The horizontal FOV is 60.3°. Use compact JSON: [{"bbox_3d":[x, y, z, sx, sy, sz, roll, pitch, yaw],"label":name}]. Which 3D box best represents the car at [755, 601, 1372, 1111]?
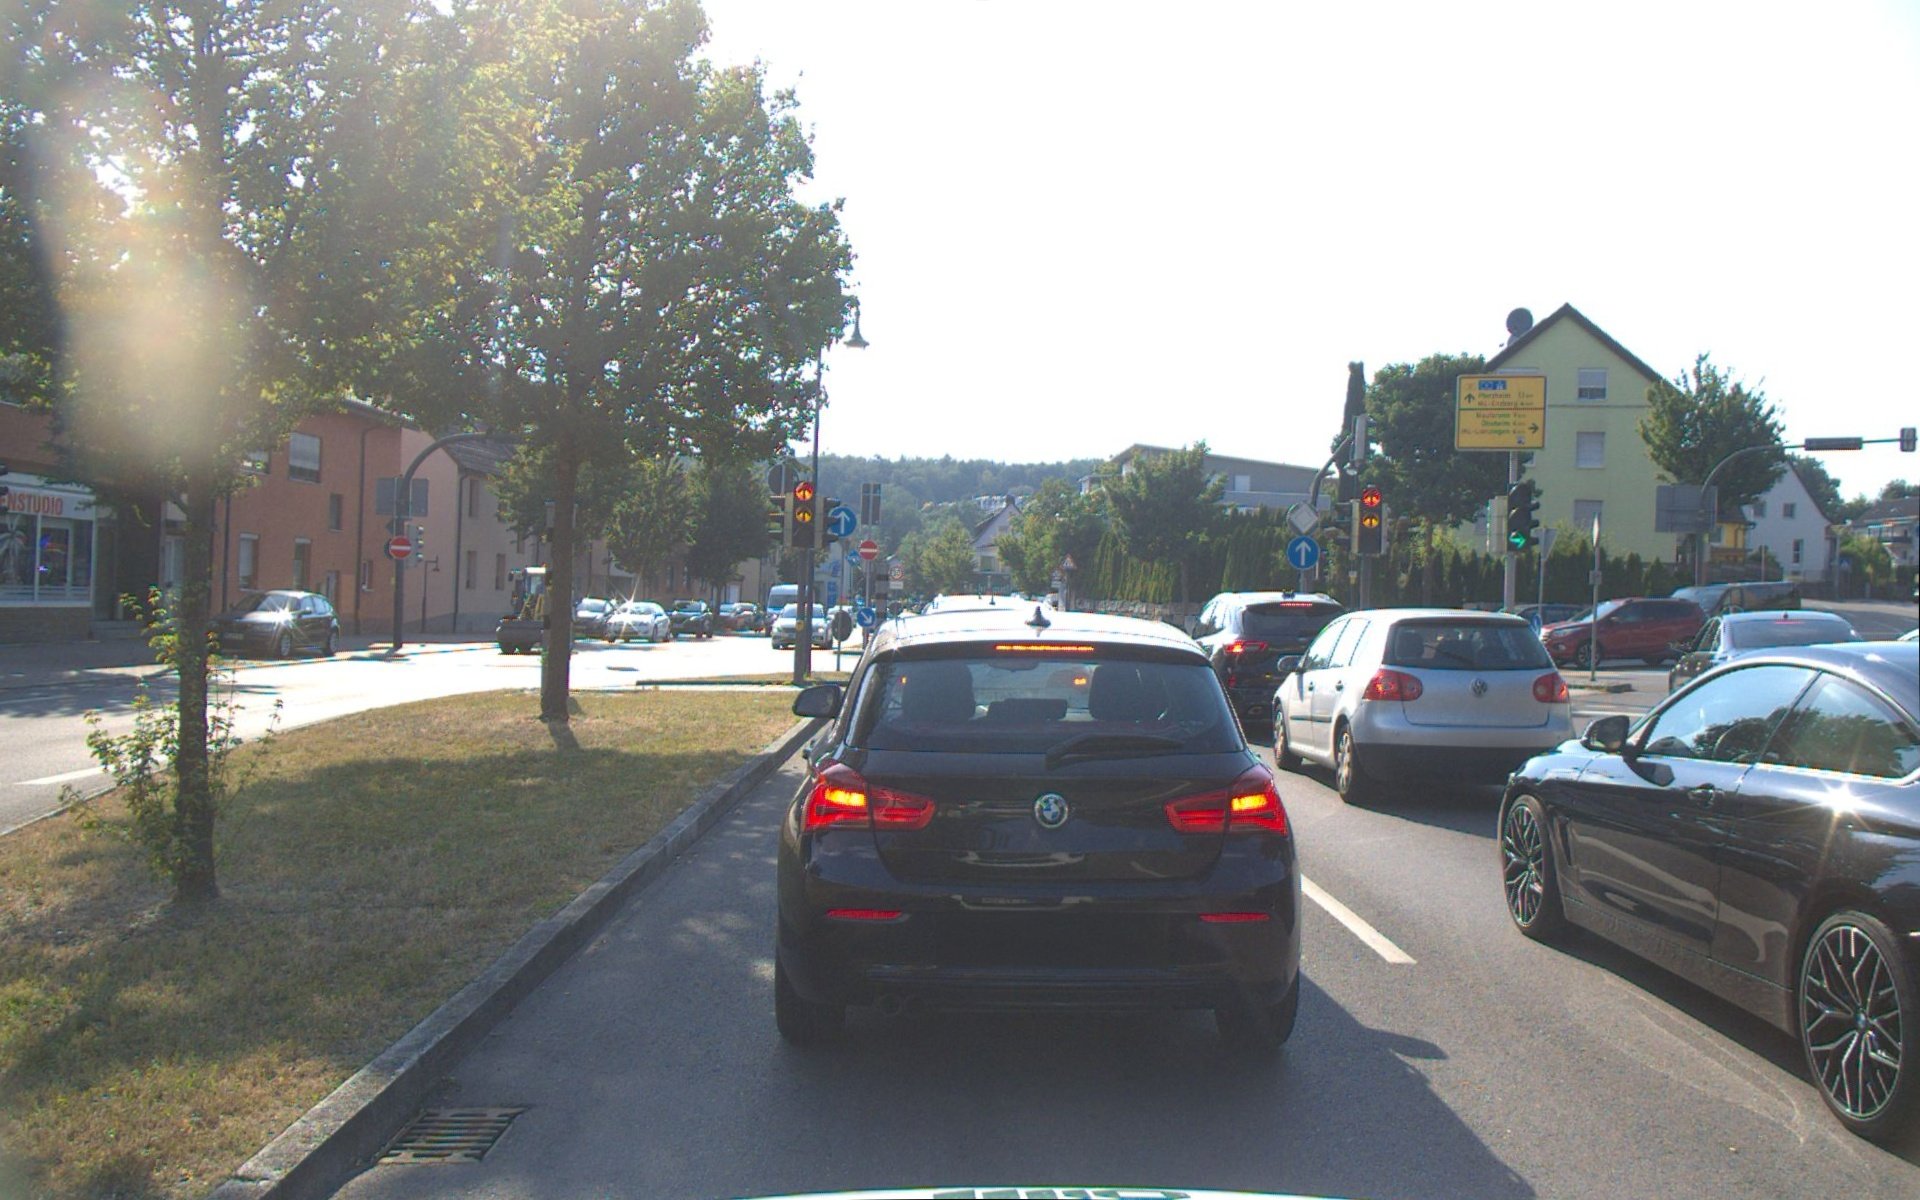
[{"bbox_3d":[0.294,0.731,6.869,1.751,1.422,4.280,-1,0,0],"label":"car"}]

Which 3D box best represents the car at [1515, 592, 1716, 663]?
[{"bbox_3d":[16.320,0.684,41.287,4.333,1.670,1.845,1,0,-8],"label":"car"}]

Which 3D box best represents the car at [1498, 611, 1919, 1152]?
[{"bbox_3d":[3.469,0.781,5.849,1.725,1.422,4.280,-1,0,0],"label":"car"}]

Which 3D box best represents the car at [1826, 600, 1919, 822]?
[{"bbox_3d":[7.619,0.793,11.658,1.583,1.569,3.320,-1,0,6],"label":"car"}]

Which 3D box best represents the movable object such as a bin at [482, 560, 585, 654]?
[{"bbox_3d":[-11.891,0.194,46.345,1.701,2.485,4.449,0,0,0],"label":"movable object such as a bin"}]

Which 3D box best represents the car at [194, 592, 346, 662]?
[{"bbox_3d":[-15.476,0.571,37.321,1.702,1.323,3.999,5,0,-1],"label":"car"}]

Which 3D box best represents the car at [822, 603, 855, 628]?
[{"bbox_3d":[-7.827,0.998,106.848,1.801,1.508,4.001,1,0,1],"label":"car"}]

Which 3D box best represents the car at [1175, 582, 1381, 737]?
[{"bbox_3d":[3.743,0.644,20.088,1.725,1.685,3.902,-1,0,0],"label":"car"}]

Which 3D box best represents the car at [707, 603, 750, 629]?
[{"bbox_3d":[-13.548,0.945,96.961,1.701,1.323,3.800,5,0,2],"label":"car"}]

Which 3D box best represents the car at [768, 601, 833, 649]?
[{"bbox_3d":[-5.313,0.799,55.437,1.801,1.508,4.000,1,0,0],"label":"car"}]

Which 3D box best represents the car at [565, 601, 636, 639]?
[{"bbox_3d":[-14.504,0.802,66.936,1.701,1.323,4.001,5,0,3],"label":"car"}]

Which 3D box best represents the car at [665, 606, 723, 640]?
[{"bbox_3d":[-11.728,0.991,73.196,1.701,1.323,3.800,5,0,2],"label":"car"}]

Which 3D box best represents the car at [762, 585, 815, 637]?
[{"bbox_3d":[-8.451,0.540,81.953,2.042,2.435,5.527,1,0,-1],"label":"car"}]

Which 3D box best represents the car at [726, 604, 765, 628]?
[{"bbox_3d":[-13.314,0.969,102.662,1.701,1.323,3.800,5,0,2],"label":"car"}]

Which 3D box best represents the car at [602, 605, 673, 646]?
[{"bbox_3d":[-12.064,0.936,62.115,1.701,1.323,3.800,5,0,2],"label":"car"}]

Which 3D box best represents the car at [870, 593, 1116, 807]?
[{"bbox_3d":[0.234,0.711,14.014,1.751,1.520,4.280,-1,0,0],"label":"car"}]

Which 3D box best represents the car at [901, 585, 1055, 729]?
[{"bbox_3d":[0.204,0.644,21.054,1.751,1.622,4.280,-1,0,0],"label":"car"}]

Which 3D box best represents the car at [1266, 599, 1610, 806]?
[{"bbox_3d":[3.790,0.735,13.805,1.725,1.451,3.902,-1,0,0],"label":"car"}]

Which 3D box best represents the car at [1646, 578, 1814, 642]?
[{"bbox_3d":[22.137,0.295,47.518,4.710,1.770,1.833,1,0,-26],"label":"car"}]

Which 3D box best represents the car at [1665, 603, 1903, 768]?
[{"bbox_3d":[9.043,0.847,18.491,1.621,1.569,4.401,-1,0,17],"label":"car"}]

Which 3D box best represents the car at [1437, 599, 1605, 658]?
[{"bbox_3d":[15.164,0.757,44.865,3.907,1.515,1.847,1,0,-3],"label":"car"}]
